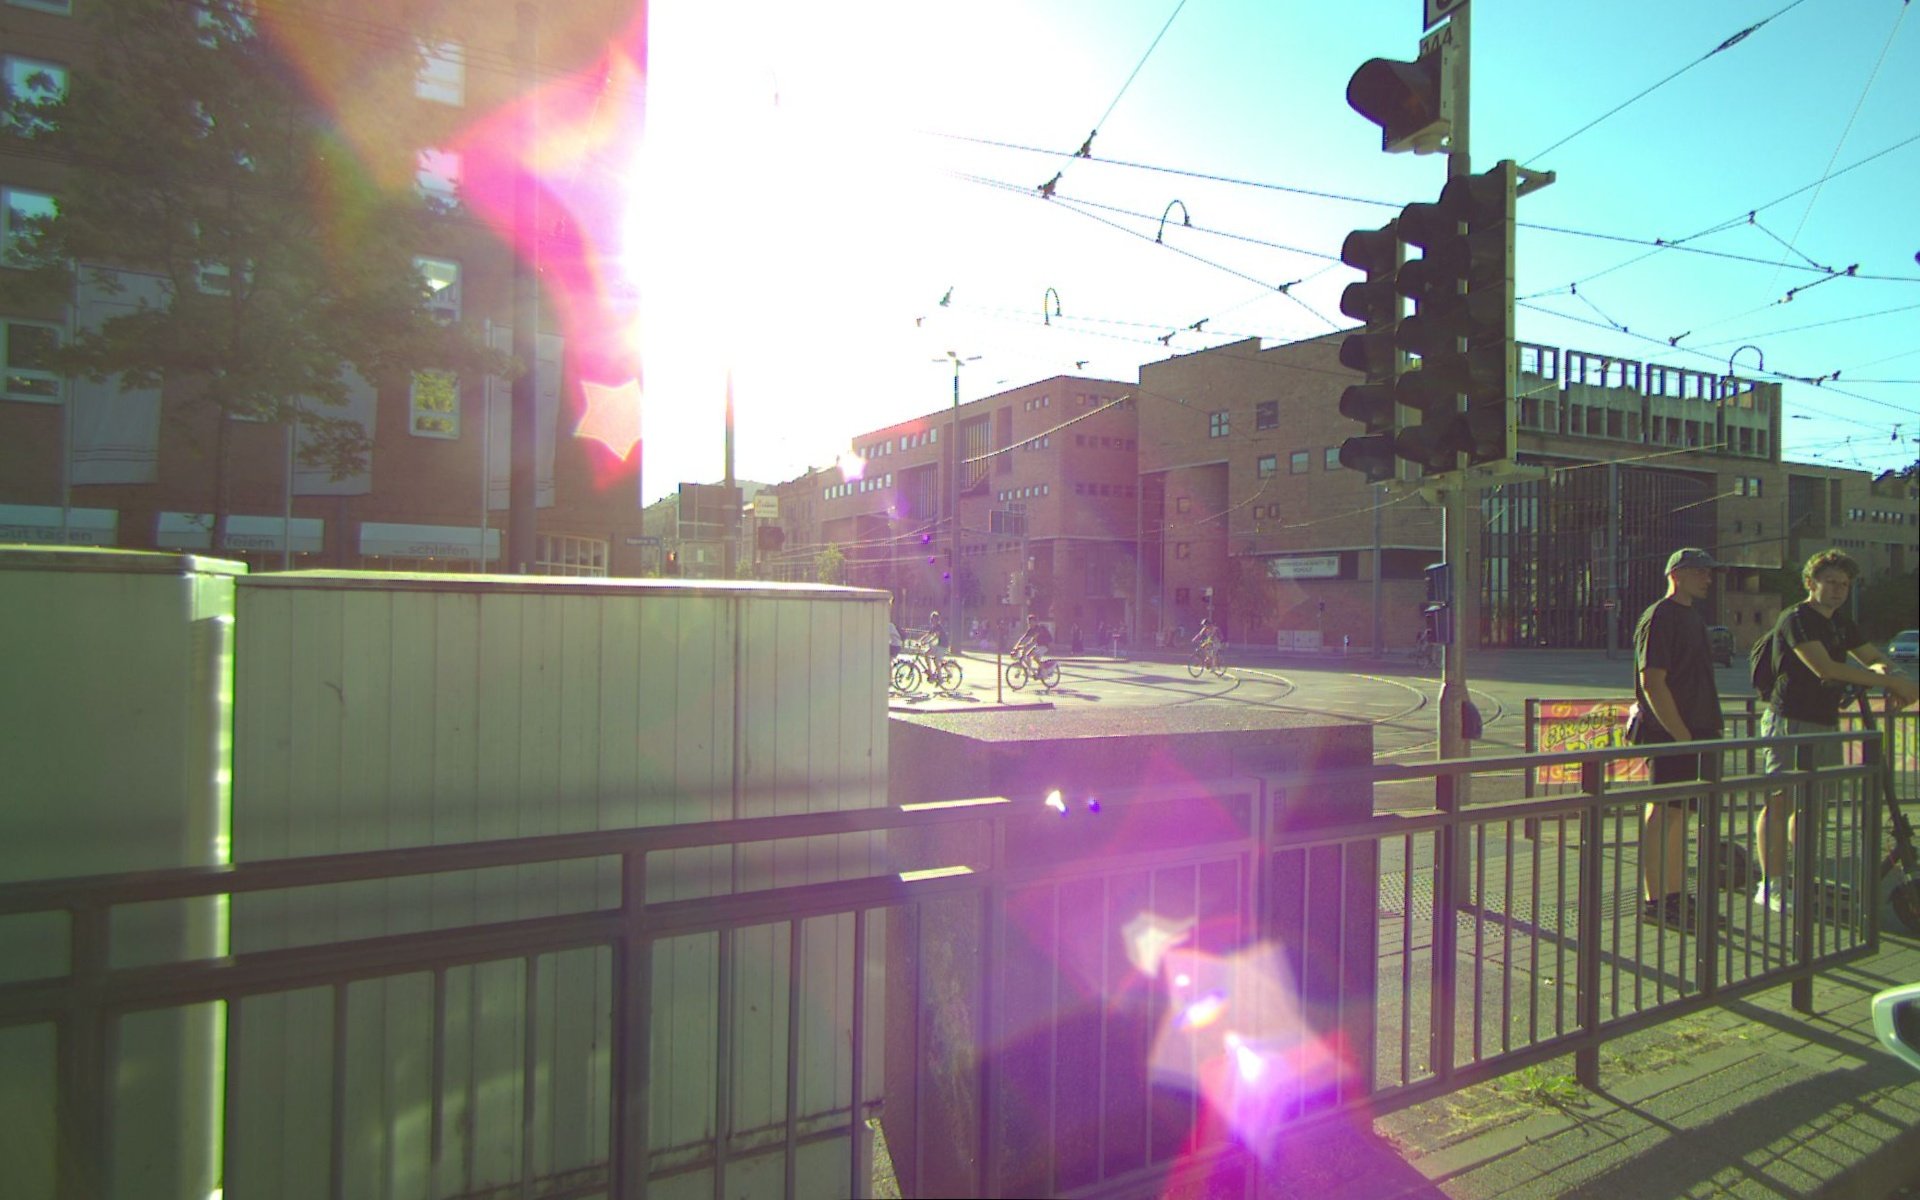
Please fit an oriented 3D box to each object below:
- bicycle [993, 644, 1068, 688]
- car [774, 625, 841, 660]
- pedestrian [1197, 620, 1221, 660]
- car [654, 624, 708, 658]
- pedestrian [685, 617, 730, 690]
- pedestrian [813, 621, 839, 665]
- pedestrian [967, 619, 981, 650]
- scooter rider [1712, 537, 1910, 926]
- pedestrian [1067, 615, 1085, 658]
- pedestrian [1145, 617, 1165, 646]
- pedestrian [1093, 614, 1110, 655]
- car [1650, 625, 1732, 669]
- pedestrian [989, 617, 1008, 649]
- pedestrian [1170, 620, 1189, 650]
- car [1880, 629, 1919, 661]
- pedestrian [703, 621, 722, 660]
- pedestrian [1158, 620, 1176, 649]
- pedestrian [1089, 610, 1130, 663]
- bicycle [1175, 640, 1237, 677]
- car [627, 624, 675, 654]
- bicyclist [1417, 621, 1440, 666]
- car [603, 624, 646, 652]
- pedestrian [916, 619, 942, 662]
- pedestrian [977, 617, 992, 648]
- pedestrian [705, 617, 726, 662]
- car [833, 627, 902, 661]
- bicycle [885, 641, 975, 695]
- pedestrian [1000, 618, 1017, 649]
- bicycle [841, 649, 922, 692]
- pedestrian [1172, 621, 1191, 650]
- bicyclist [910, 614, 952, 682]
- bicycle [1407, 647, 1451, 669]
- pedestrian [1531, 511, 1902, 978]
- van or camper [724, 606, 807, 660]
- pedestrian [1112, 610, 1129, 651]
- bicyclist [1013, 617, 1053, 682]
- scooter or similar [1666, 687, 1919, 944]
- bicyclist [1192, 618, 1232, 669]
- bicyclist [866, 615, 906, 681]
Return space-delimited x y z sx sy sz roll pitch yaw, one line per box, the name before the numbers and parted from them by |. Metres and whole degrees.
bicycle | 1.768 1.618 24.915 1.884 1.011 0.688 1 -2 -37
car | -7.803 2.142 51.183 1.978 1.709 3.965 1 -2 -33
pedestrian | 12.141 1.933 48.962 0.866 1.927 0.718 2 0 -33
car | -15.288 2.204 54.960 1.739 1.750 3.963 1 -2 -33
pedestrian | -6.549 1.371 26.134 0.939 1.822 0.992 2 0 -6
pedestrian | -5.507 1.773 41.186 0.857 1.775 0.672 1 -1 -30
pedestrian | 0.908 2.278 66.506 0.607 2.040 0.727 1 -1 -32
scooter rider | 4.453 0.654 5.264 0.670 1.877 0.564 3 -2 -25
pedestrian | 5.602 1.772 48.487 0.603 2.040 0.731 0 -1 34
pedestrian | 13.784 2.214 71.026 0.902 2.040 1.151 1 -1 -34
pedestrian | 7.169 1.736 50.905 0.603 2.040 0.731 0 -1 30
car | 31.950 2.028 43.871 3.964 1.786 1.854 1 0 -37
pedestrian | 2.466 2.135 64.507 0.917 2.010 0.780 1 -1 -32
pedestrian | 15.472 2.448 70.887 0.841 2.079 1.001 1 -1 -32
car | 48.938 2.282 51.724 3.962 1.598 1.610 1 -2 -36
pedestrian | -11.744 1.928 47.664 0.597 1.843 0.848 1 -1 -38
pedestrian | 14.890 2.474 72.179 0.841 2.079 1.001 1 -1 -32
pedestrian | 5.988 1.461 40.180 1.193 2.040 1.028 2 0 -30
bicycle | 7.437 1.752 30.347 1.993 1.064 0.647 2 -1 -35
car | -18.429 2.300 59.856 1.738 1.750 3.965 1 -2 -32
bicyclist | 17.573 1.629 37.679 0.509 1.647 0.583 1 -1 -35
car | -21.704 2.418 64.979 1.738 1.750 3.965 1 -2 -32
pedestrian | -1.281 1.696 41.970 0.860 1.775 0.670 1 -2 -39
pedestrian | 1.630 2.161 66.410 0.644 2.040 0.780 1 -1 -32
pedestrian | -11.143 1.783 45.780 0.597 2.040 0.848 1 -1 -38
car | -4.812 2.236 51.808 1.978 1.709 3.965 1 -2 -33
bicycle | -0.700 1.604 24.094 2.087 1.157 0.681 -1 0 -32
pedestrian | 3.145 2.158 64.997 0.742 2.010 0.780 1 -1 -32
bicycle | -1.914 1.716 24.661 1.879 1.011 0.650 1 -2 -30
pedestrian | 16.082 2.559 72.934 0.841 2.079 1.001 1 -1 -32
bicyclist | -0.701 1.131 24.103 0.750 1.581 0.678 -1 0 -32
bicycle | 17.616 2.180 37.693 1.948 0.781 0.586 1 -2 -35
pedestrian | 3.572 0.609 4.831 0.843 1.908 1.164 1 -1 -25
van or camper | -9.360 1.566 47.940 1.981 2.451 4.980 1 -2 -36
pedestrian | 8.060 1.535 50.525 0.603 2.040 0.731 0 -1 30
bicyclist | 1.812 1.225 24.971 0.752 1.590 0.656 1 -2 -37
scooter or similar | 4.471 1.041 5.185 0.639 1.095 1.199 1 -1 -25
bicyclist | 7.663 1.314 30.503 1.022 1.494 0.649 2 -1 -35
bicyclist | -1.824 1.171 24.725 0.750 1.595 0.657 1 -1 -30
